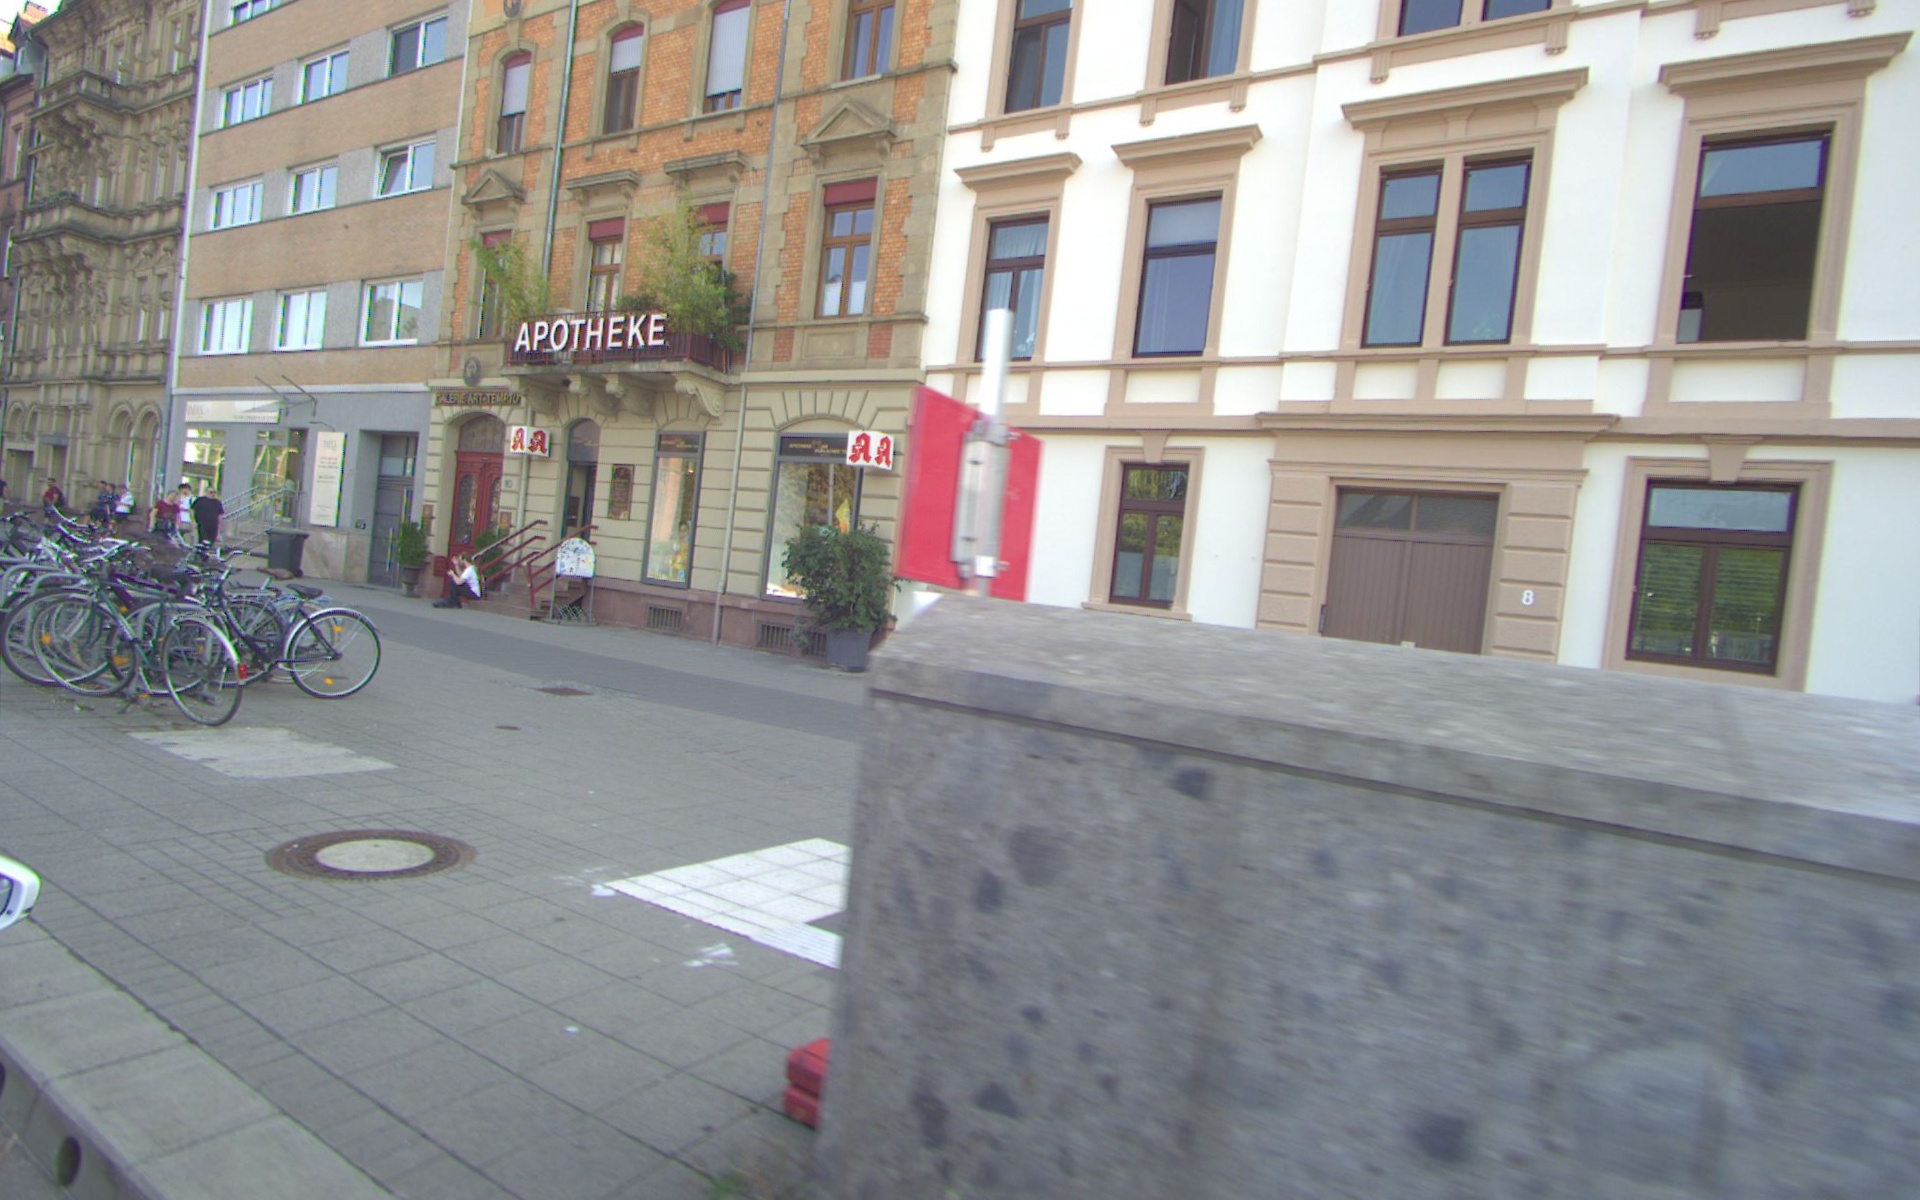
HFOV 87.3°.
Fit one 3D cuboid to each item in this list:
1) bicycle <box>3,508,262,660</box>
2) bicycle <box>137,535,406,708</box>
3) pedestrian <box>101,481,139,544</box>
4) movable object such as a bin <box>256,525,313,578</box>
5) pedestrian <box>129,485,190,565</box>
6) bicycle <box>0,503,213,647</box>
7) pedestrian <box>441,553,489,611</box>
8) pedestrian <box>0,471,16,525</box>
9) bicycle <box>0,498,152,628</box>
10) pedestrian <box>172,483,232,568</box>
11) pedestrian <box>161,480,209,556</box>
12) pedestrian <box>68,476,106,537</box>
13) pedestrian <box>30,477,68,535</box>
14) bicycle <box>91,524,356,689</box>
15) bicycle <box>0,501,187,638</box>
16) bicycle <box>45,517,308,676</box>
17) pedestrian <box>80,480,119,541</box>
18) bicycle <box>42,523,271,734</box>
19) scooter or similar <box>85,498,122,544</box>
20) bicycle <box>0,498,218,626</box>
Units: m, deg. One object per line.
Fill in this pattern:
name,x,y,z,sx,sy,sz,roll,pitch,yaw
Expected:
bicycle,-7.031,-0.087,8.648,0.378,1.163,1.636,7,1,27
bicycle,-5.185,0.184,7.699,0.378,1.163,1.636,7,1,27
pedestrian,-24.760,-2.581,29.663,0.502,1.753,0.604,7,1,28
movable object such as a bin,-15.383,-1.091,22.909,0.657,1.094,0.739,7,1,15
pedestrian,-17.678,-1.658,22.213,0.842,1.630,0.720,7,1,33
bicycle,-7.747,-0.193,9.001,0.378,1.163,1.636,7,1,27
pedestrian,-9.205,-0.338,18.703,0.608,0.994,0.629,6,1,-39
pedestrian,-31.969,-3.413,33.413,0.679,1.741,0.630,7,1,31
bicycle,-8.852,-0.351,9.654,0.378,1.163,1.636,7,1,27
pedestrian,-17.228,-1.688,22.868,0.842,1.810,0.720,7,1,33
pedestrian,-20.051,-2.116,26.022,0.729,1.855,0.604,7,1,28
pedestrian,-26.318,-2.807,30.336,0.577,1.713,0.604,7,1,28
pedestrian,-28.172,-2.914,31.102,0.577,1.675,0.604,7,1,28
bicycle,-5.791,0.087,8.021,0.378,1.163,1.636,7,1,27
bicycle,-8.262,-0.263,9.346,0.378,1.163,1.636,7,1,27
bicycle,-6.372,0.010,8.288,0.378,1.163,1.636,7,1,27
pedestrian,-25.724,-2.665,30.071,0.577,1.713,0.604,7,1,28
bicycle,-5.303,0.156,6.618,1.626,1.163,0.408,7,1,24
scooter or similar,-24.207,-2.228,28.433,1.132,1.178,0.360,7,1,29
bicycle,-8.998,-0.370,10.675,0.592,1.163,1.633,7,1,33
